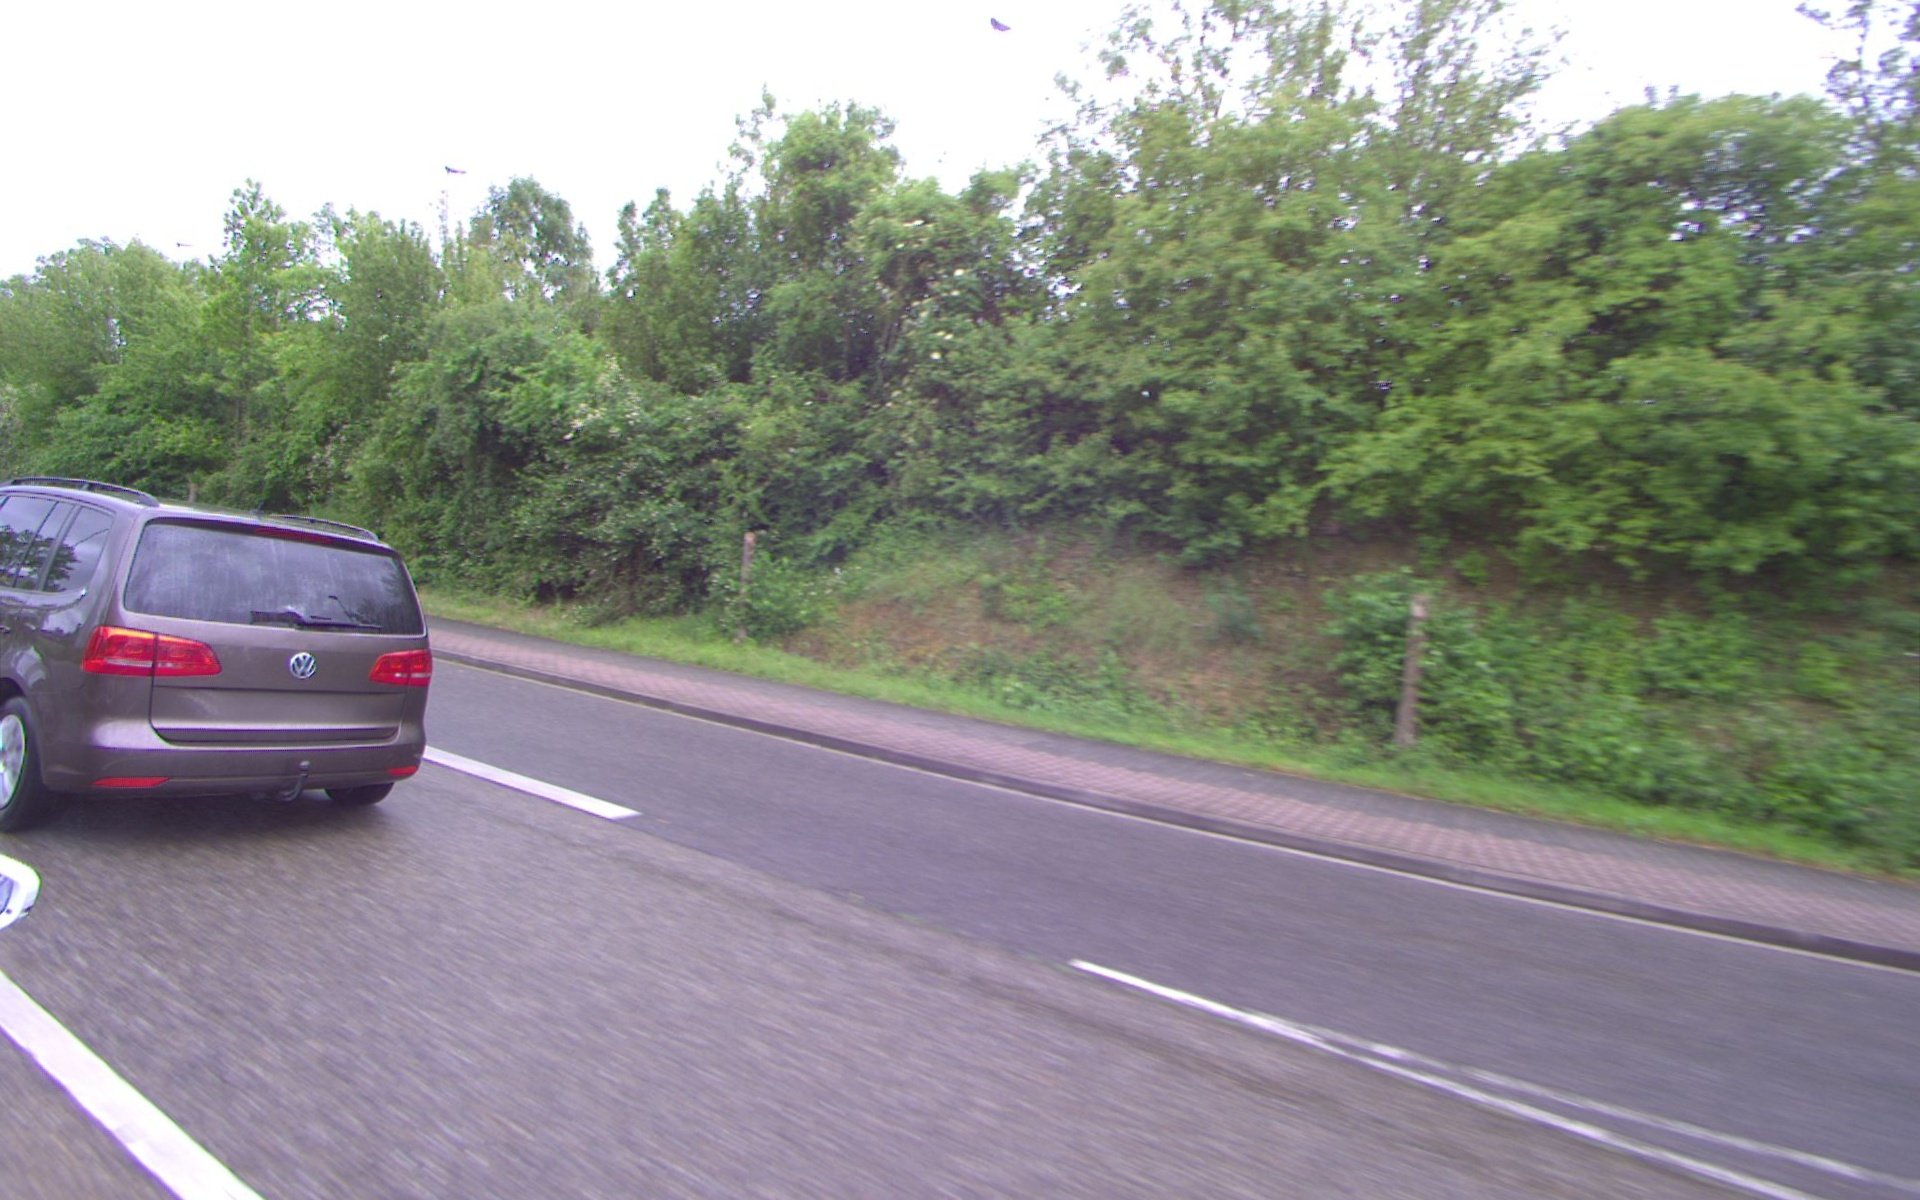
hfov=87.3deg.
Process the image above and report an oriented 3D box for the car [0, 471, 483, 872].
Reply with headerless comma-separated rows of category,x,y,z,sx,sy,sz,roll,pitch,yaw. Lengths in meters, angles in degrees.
car,-4.916,0.199,5.878,4.061,1.615,1.718,6,-2,30
